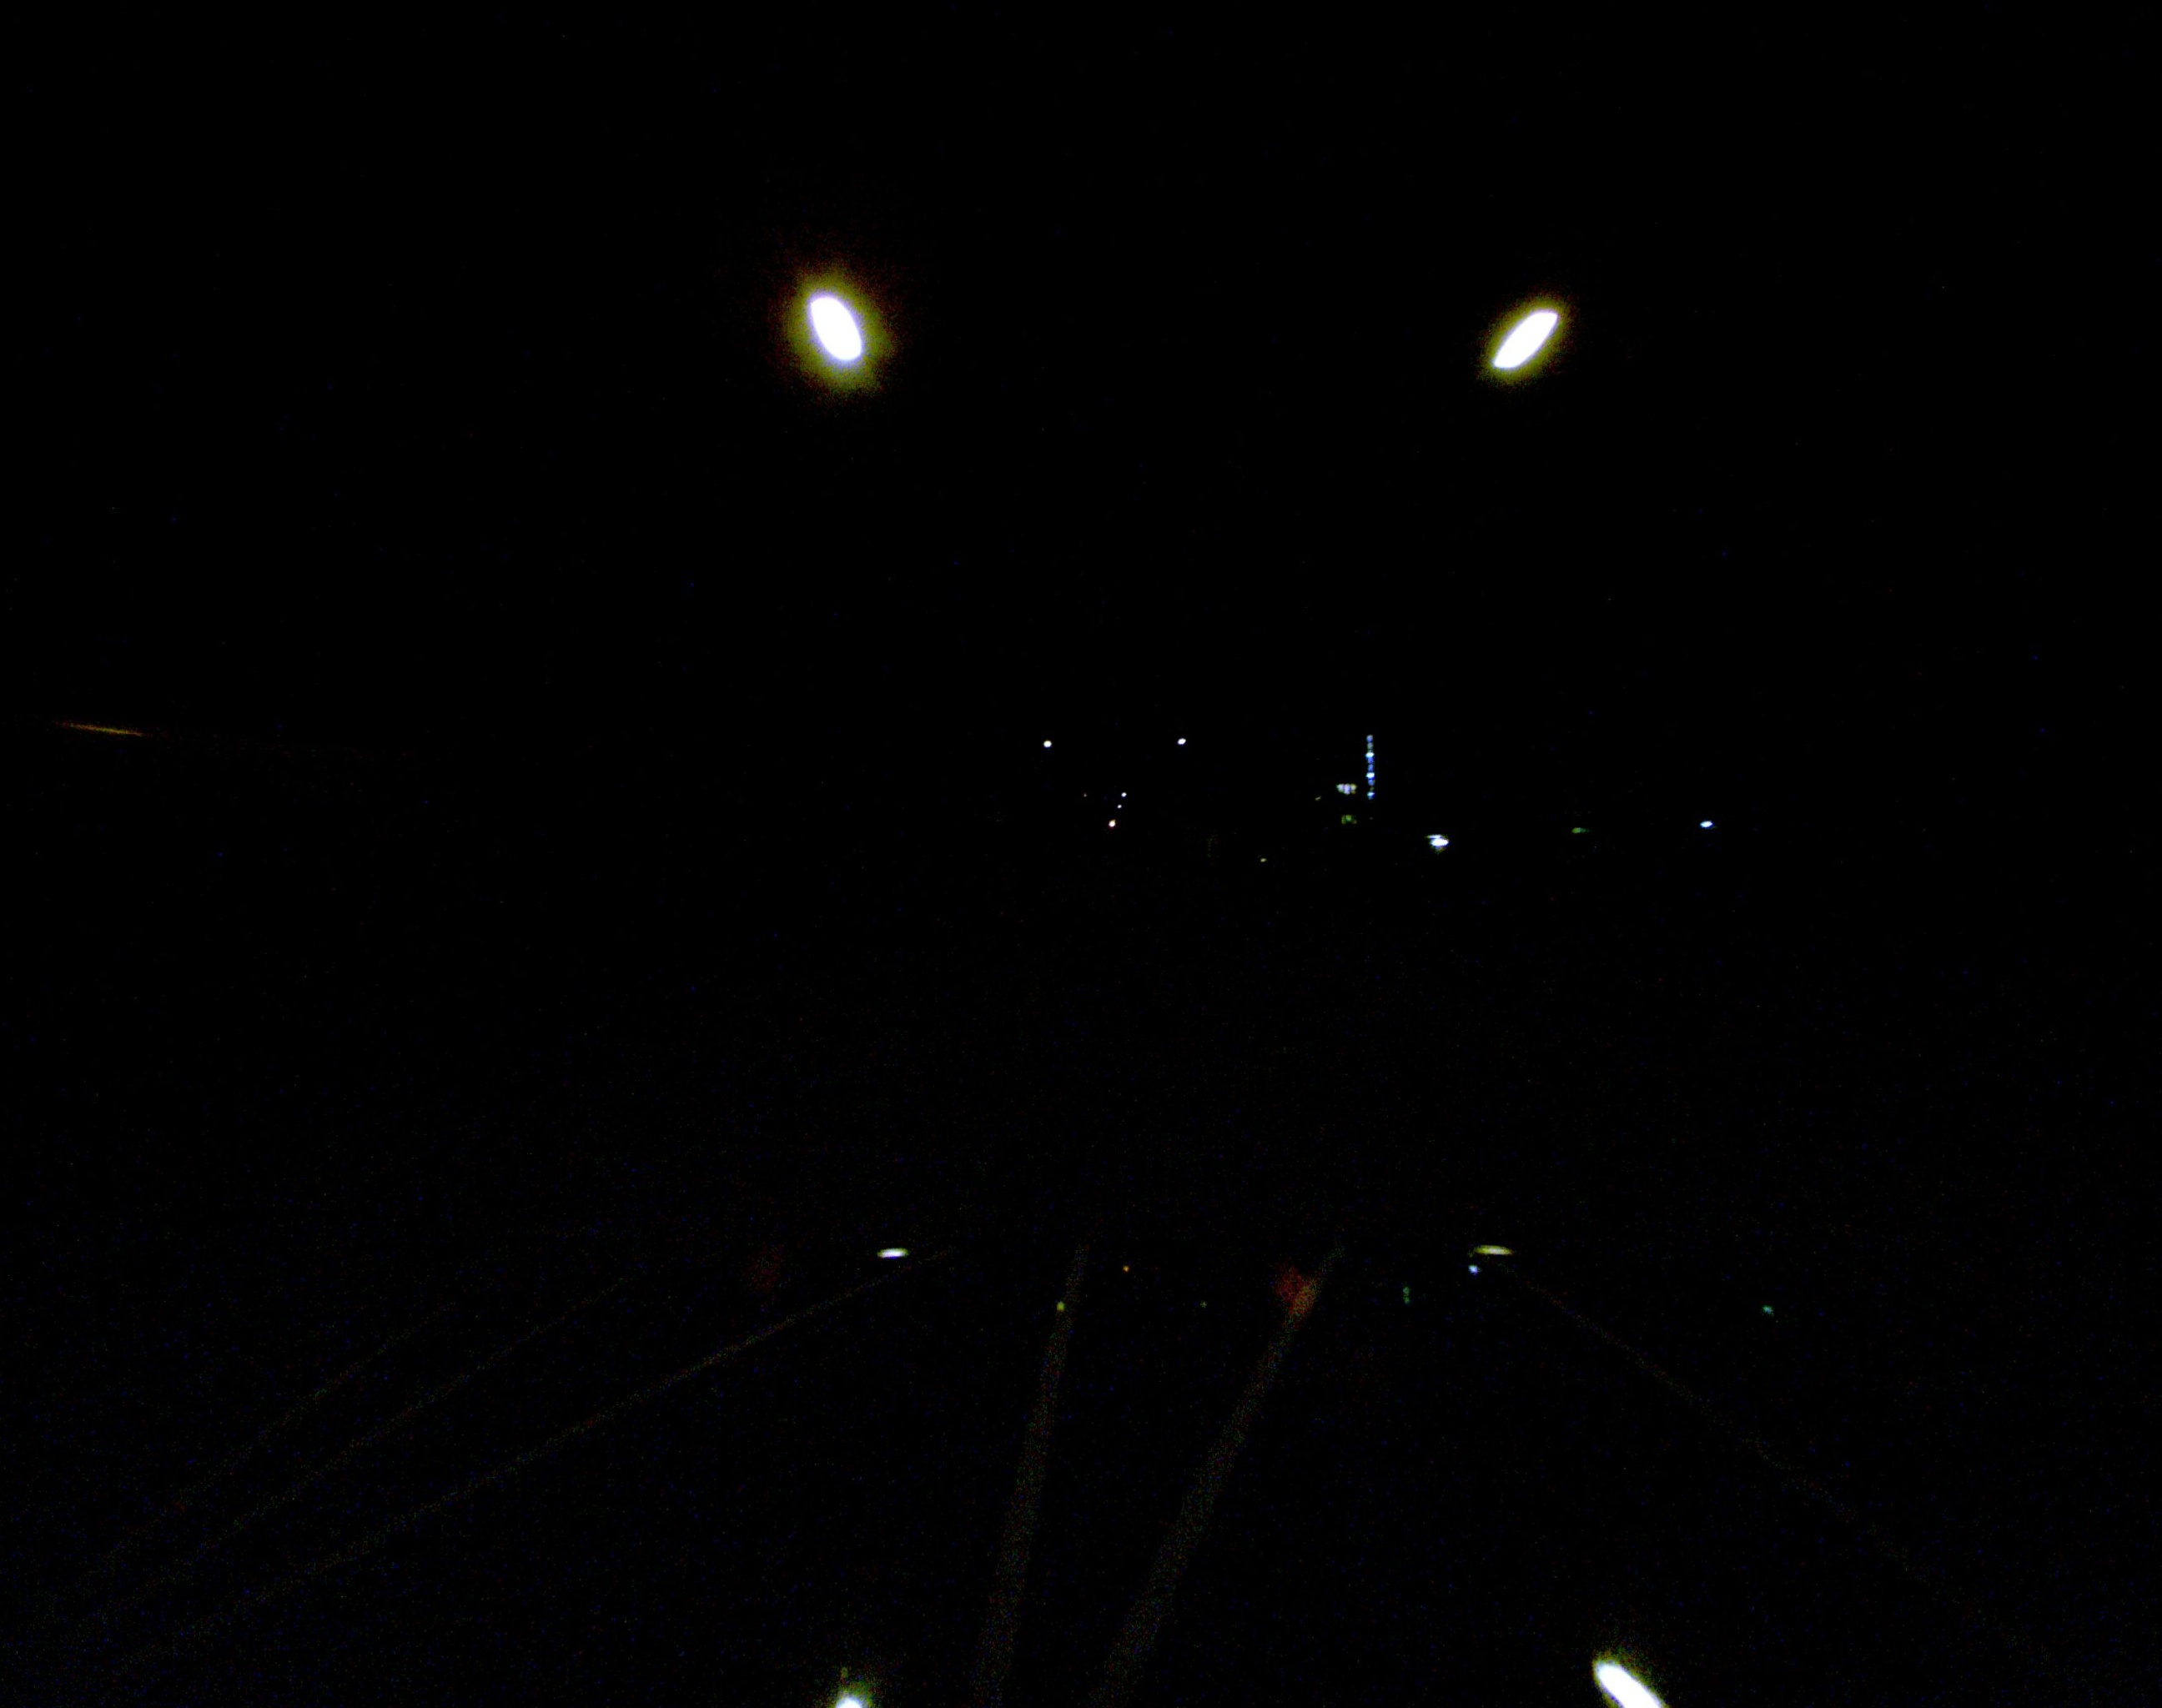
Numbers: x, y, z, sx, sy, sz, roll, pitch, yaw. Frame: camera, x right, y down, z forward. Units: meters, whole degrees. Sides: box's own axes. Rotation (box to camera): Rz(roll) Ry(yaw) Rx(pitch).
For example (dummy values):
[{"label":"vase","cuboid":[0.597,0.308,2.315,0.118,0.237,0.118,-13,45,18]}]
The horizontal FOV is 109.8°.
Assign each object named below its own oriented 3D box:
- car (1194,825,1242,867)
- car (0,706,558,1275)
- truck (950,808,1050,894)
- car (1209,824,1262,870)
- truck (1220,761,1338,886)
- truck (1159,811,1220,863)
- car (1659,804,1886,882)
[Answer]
[{"label":"car","cuboid":[8.860,-0.525,49.726,1.998,2.429,5.744,-3,1,0]},{"label":"car","cuboid":[-5.841,0.641,3.903,1.999,2.533,6.024,-3,1,0]},{"label":"truck","cuboid":[-4.003,-0.248,41.203,2.514,3.815,12.662,-3,1,6]},{"label":"car","cuboid":[8.393,-0.388,41.687,2.145,2.299,4.468,-3,1,3]},{"label":"truck","cuboid":[8.019,-1.070,32.769,2.644,4.289,12.827,-1,0,4]},{"label":"truck","cuboid":[8.493,-1.307,60.844,2.829,3.611,10.398,-3,1,-2]},{"label":"car","cuboid":[17.235,-0.264,19.082,3.997,1.455,1.806,-6,1,-1]}]
